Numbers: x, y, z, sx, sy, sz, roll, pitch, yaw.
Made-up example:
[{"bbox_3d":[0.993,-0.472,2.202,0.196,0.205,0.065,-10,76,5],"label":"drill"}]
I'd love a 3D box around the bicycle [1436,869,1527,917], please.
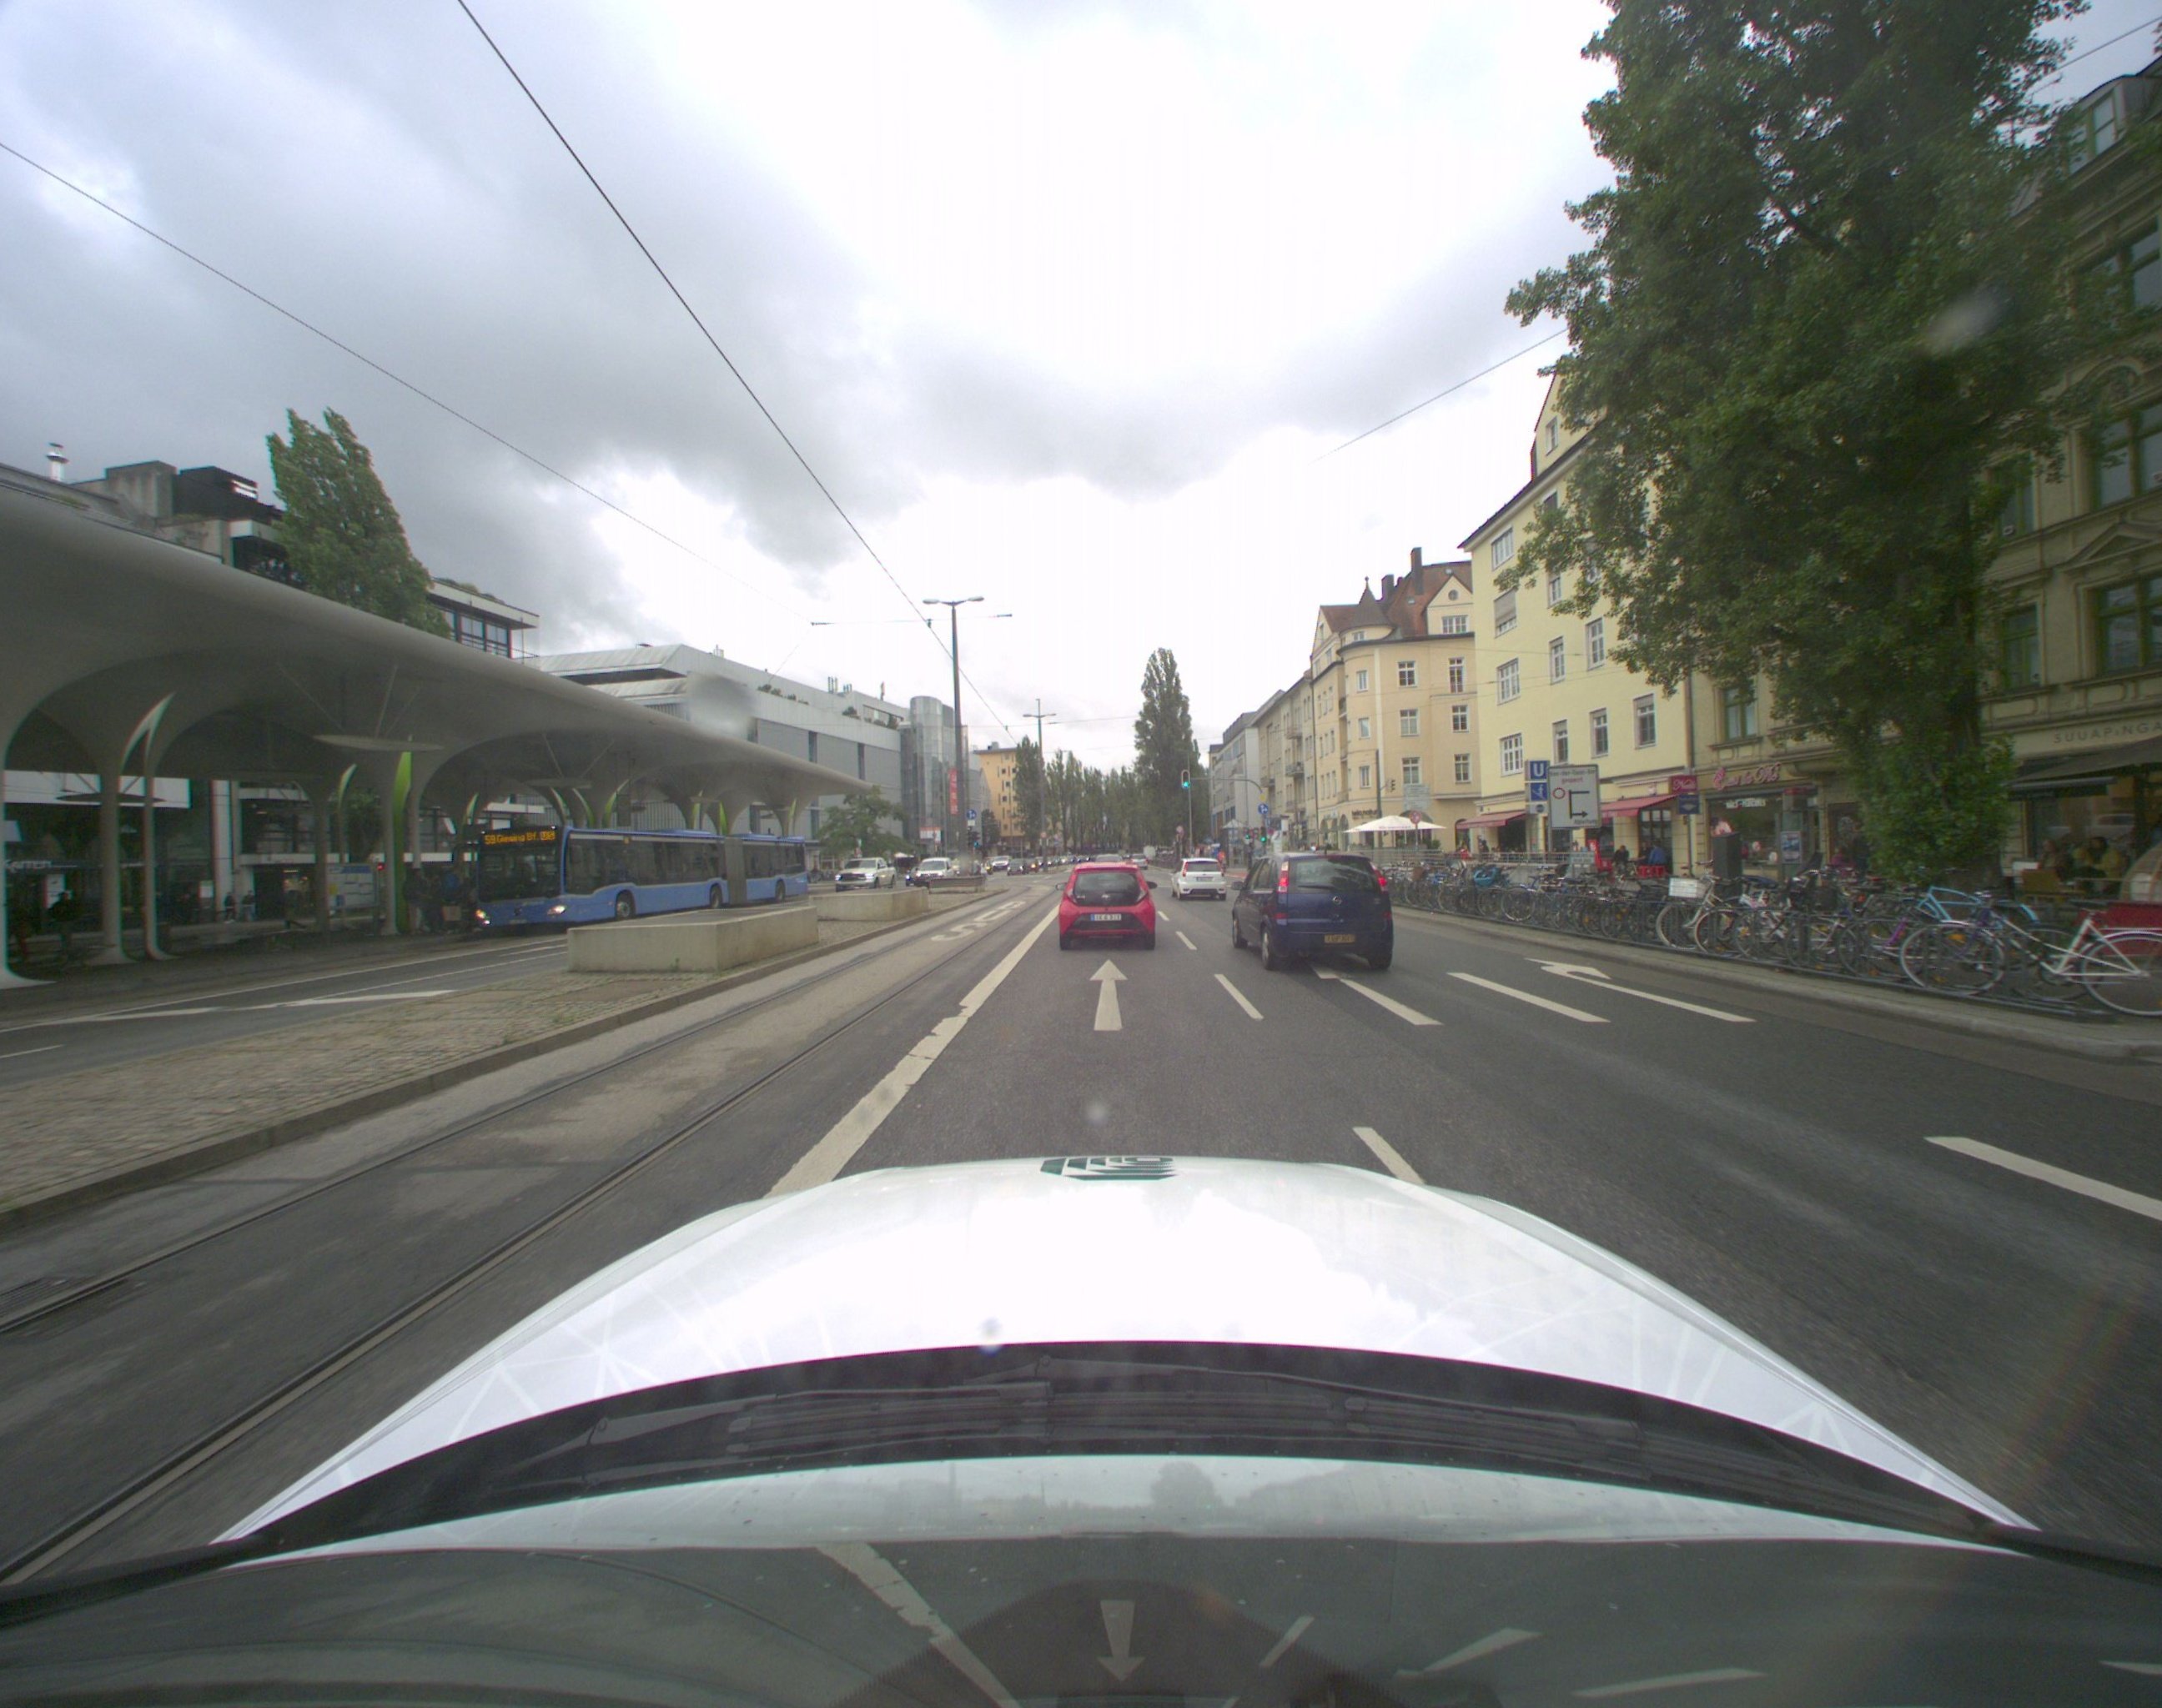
[{"bbox_3d":[9.069,0.867,18.495,1.819,0.995,0.327,0,1,44],"label":"bicycle"}]

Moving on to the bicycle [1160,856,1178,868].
[{"bbox_3d":[8.930,0.792,82.741,1.781,1.158,0.490,-2,0,32],"label":"bicycle"}]

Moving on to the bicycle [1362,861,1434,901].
[{"bbox_3d":[9.121,0.789,23.470,1.818,1.112,0.470,-2,0,34],"label":"bicycle"}]

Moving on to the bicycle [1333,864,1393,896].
[{"bbox_3d":[9.094,0.859,26.303,0.350,0.996,1.819,-2,-1,-44],"label":"bicycle"}]

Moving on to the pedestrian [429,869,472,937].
[{"bbox_3d":[-16.828,1.282,21.750,0.564,1.743,0.754,-2,0,-8],"label":"pedestrian"}]

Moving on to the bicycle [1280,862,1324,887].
[{"bbox_3d":[9.393,0.868,34.647,0.350,0.996,1.819,-2,-1,-44],"label":"bicycle"}]

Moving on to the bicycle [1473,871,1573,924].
[{"bbox_3d":[9.091,0.866,16.810,0.327,0.995,1.820,-2,1,-41],"label":"bicycle"}]

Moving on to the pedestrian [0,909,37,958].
[{"bbox_3d":[-29.026,2.159,22.251,0.513,1.265,0.578,-3,0,38],"label":"pedestrian"}]

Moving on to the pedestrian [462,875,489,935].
[{"bbox_3d":[-16.486,1.387,22.174,0.391,1.605,0.390,-2,0,-3],"label":"pedestrian"}]

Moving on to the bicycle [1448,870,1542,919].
[{"bbox_3d":[9.059,0.865,17.876,1.819,0.995,0.327,0,1,44],"label":"bicycle"}]

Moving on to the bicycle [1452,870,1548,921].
[{"bbox_3d":[8.934,0.865,17.436,0.327,0.995,1.820,-2,1,-41],"label":"bicycle"}]

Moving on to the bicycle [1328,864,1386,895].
[{"bbox_3d":[9.147,0.859,27.021,0.350,0.996,1.819,-2,-1,-44],"label":"bicycle"}]

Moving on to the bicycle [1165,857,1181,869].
[{"bbox_3d":[8.835,0.865,77.878,0.502,1.028,1.582,-2,0,-40],"label":"bicycle"}]

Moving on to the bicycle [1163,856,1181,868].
[{"bbox_3d":[8.933,0.770,79.931,1.781,1.158,0.551,-2,0,40],"label":"bicycle"}]

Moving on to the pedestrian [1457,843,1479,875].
[{"bbox_3d":[17.676,0.213,37.193,0.673,1.422,0.617,-2,0,2],"label":"pedestrian"}]

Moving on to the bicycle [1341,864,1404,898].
[{"bbox_3d":[9.139,0.859,25.613,1.818,0.996,0.350,-3,-1,42],"label":"bicycle"}]

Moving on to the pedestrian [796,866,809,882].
[{"bbox_3d":[-28.112,2.046,82.159,0.791,1.581,0.980,-2,0,13],"label":"pedestrian"}]

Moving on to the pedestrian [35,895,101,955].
[{"bbox_3d":[-30.970,2.148,24.913,0.866,1.730,0.897,-2,0,7],"label":"pedestrian"}]

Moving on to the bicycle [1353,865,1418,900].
[{"bbox_3d":[9.021,0.859,24.175,0.327,0.996,1.819,-2,0,-44],"label":"bicycle"}]

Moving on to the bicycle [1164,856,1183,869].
[{"bbox_3d":[8.938,0.781,78.536,0.562,1.198,1.782,-2,0,-45],"label":"bicycle"}]

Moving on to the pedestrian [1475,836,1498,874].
[{"bbox_3d":[18.149,0.039,36.452,0.612,1.632,0.678,-2,0,2],"label":"pedestrian"}]

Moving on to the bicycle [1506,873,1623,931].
[{"bbox_3d":[8.928,0.867,15.082,1.818,0.995,0.327,0,1,39],"label":"bicycle"}]

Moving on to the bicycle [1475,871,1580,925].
[{"bbox_3d":[8.949,0.866,16.375,1.819,0.995,0.327,0,1,44],"label":"bicycle"}]

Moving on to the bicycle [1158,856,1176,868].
[{"bbox_3d":[8.875,0.804,84.121,1.781,1.158,0.656,-2,0,38],"label":"bicycle"}]

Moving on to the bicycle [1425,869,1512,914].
[{"bbox_3d":[9.113,0.867,19.206,1.818,0.995,0.327,0,1,38],"label":"bicycle"}]

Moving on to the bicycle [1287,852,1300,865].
[{"bbox_3d":[17.849,0.367,68.504,0.493,1.059,1.865,-2,0,-2],"label":"bicycle"}]

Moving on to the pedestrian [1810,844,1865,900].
[{"bbox_3d":[17.245,0.401,18.569,0.598,1.222,0.666,-2,0,2],"label":"pedestrian"}]

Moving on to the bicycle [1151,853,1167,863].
[{"bbox_3d":[9.163,0.507,95.940,1.815,1.136,0.590,-2,0,45],"label":"bicycle"}]

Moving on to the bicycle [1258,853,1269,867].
[{"bbox_3d":[15.419,0.486,68.710,0.564,1.108,1.867,-2,0,2],"label":"bicycle"}]

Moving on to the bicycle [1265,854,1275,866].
[{"bbox_3d":[15.918,0.486,68.678,0.492,0.975,1.867,-2,0,2],"label":"bicycle"}]

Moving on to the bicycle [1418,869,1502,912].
[{"bbox_3d":[9.197,0.867,19.807,1.818,0.995,0.327,0,1,38],"label":"bicycle"}]

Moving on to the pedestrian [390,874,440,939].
[{"bbox_3d":[-18.388,1.425,22.495,0.714,1.722,0.877,-2,0,-13],"label":"pedestrian"}]

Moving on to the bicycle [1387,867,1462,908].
[{"bbox_3d":[9.020,0.858,21.448,0.327,0.995,1.819,-2,1,-44],"label":"bicycle"}]

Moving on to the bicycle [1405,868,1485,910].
[{"bbox_3d":[9.180,0.868,20.577,1.818,0.995,0.327,0,1,38],"label":"bicycle"}]

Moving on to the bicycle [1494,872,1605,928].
[{"bbox_3d":[9.023,0.866,15.722,1.818,0.995,0.327,-1,1,34],"label":"bicycle"}]

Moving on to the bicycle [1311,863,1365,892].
[{"bbox_3d":[9.196,0.858,29.174,1.818,0.996,0.350,-3,-1,41],"label":"bicycle"}]

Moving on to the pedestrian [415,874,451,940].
[{"bbox_3d":[-17.590,1.419,22.117,0.504,1.734,0.571,-2,0,-8],"label":"pedestrian"}]

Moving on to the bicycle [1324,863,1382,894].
[{"bbox_3d":[9.243,0.858,27.709,1.818,0.996,0.350,-3,-1,41],"label":"bicycle"}]

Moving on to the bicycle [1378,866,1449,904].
[{"bbox_3d":[9.242,0.858,22.713,1.819,0.995,0.327,0,1,42],"label":"bicycle"}]

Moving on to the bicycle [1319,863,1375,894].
[{"bbox_3d":[9.264,0.858,28.364,1.818,0.996,0.350,-3,-1,41],"label":"bicycle"}]

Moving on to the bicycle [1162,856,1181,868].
[{"bbox_3d":[9.005,0.771,81.422,1.782,1.158,0.490,-2,0,28],"label":"bicycle"}]

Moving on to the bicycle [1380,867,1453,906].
[{"bbox_3d":[9.108,0.858,22.140,1.819,0.995,0.327,0,1,42],"label":"bicycle"}]

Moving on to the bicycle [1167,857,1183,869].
[{"bbox_3d":[8.878,0.866,77.020,0.502,1.028,1.582,-2,0,-40],"label":"bicycle"}]

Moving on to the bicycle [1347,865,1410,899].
[{"bbox_3d":[9.092,0.859,24.948,0.350,0.996,1.819,-2,-1,-44],"label":"bicycle"}]
